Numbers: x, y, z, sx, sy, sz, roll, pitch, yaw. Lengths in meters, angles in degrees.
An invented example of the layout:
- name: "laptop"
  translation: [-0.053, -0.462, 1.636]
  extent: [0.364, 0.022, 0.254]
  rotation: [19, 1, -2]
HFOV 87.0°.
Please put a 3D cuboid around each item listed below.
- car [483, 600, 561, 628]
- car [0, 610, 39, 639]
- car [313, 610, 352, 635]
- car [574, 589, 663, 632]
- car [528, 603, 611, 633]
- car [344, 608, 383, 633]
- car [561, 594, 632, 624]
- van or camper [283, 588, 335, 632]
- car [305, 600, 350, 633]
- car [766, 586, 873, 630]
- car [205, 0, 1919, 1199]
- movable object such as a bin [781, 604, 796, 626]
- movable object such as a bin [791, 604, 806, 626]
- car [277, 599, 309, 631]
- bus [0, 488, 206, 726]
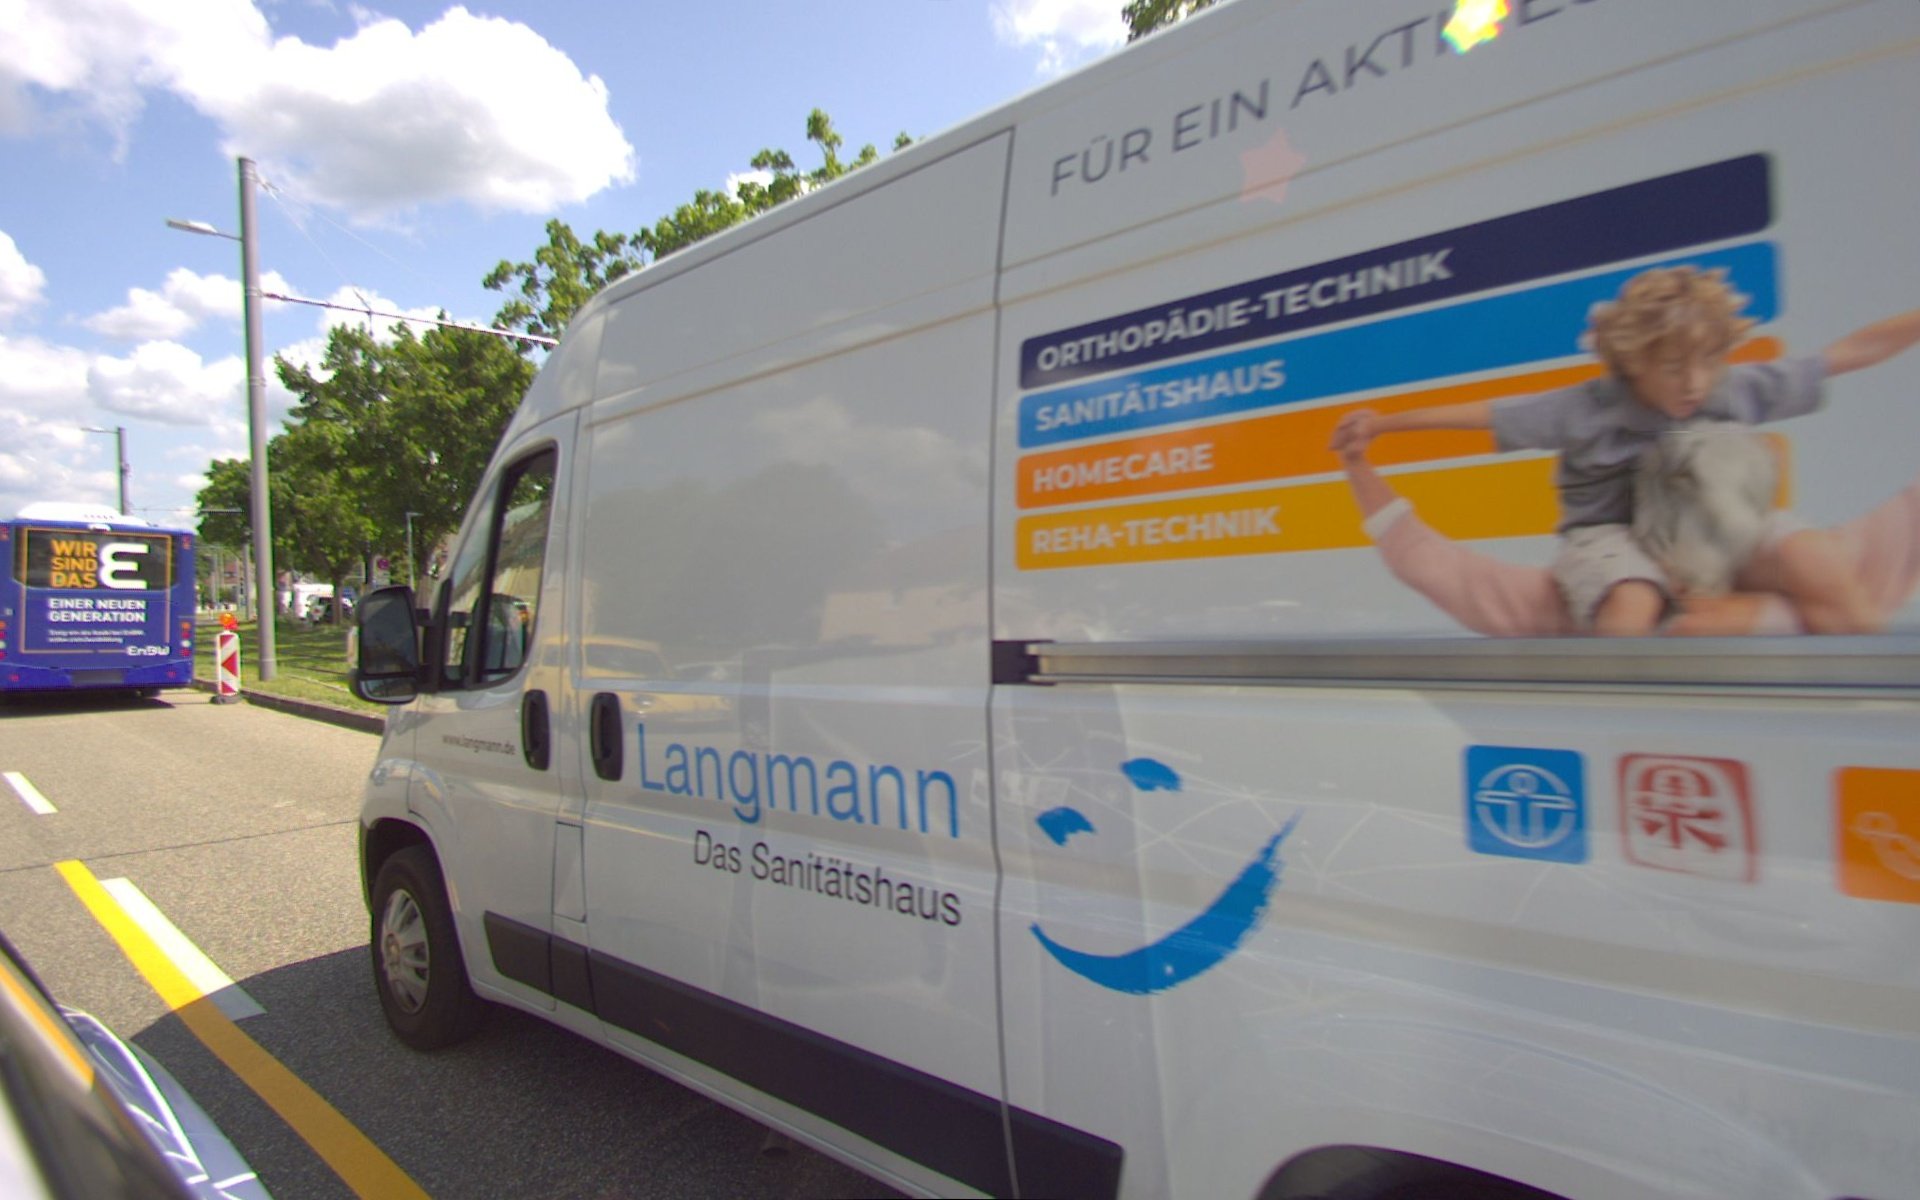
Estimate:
- name: "car"
  translation: [-26.933, 0.850, 62.295]
  extent: [3.941, 1.541, 1.875]
  rotation: [-3, 1, -44]
- name: "car"
  translation: [-75.433, 1.944, 80.452]
  extent: [2.246, 2.199, 6.385]
  rotation: [-1, 0, -33]
- name: "car"
  translation: [-38.692, 1.382, 62.314]
  extent: [1.827, 1.397, 4.821]
  rotation: [-2, 1, -34]
- name: "car"
  translation: [-16.853, 0.496, 50.107]
  extent: [1.933, 1.911, 3.861]
  rotation: [-2, 2, 27]
- name: "car"
  translation: [-21.392, 0.982, 55.551]
  extent: [3.838, 1.468, 1.737]
  rotation: [-2, 0, -44]
- name: "car"
  translation: [-44.532, 1.502, 75.533]
  extent: [1.857, 1.781, 5.094]
  rotation: [-2, 0, -38]
- name: "car"
  translation: [-23.550, 0.576, 65.629]
  extent: [3.941, 1.750, 1.800]
  rotation: [-3, 1, -44]
- name: "van or camper"
  translation: [-46.681, 0.710, 72.477]
  extent: [2.345, 2.992, 7.310]
  rotation: [-1, 0, -38]
- name: "car"
  translation: [-42.062, 1.093, 67.223]
  extent: [1.968, 2.029, 4.914]
  rotation: [-2, 0, -38]
- name: "car"
  translation: [-5.272, 0.307, 37.638]
  extent: [4.043, 1.529, 1.710]
  rotation: [-1, 1, 42]
- name: "car"
  translation: [0.149, 0.170, 2.636]
  extent: [5.566, 2.461, 2.082]
  rotation: [-1, 1, 40]
- name: "movable object such as a bin"
  translation: [-7.813, 0.681, 45.978]
  extent: [0.446, 0.984, 0.500]
  rotation: [-2, 0, -43]
- name: "movable object such as a bin"
  translation: [-7.367, 0.676, 46.198]
  extent: [0.446, 0.984, 0.500]
  rotation: [-2, 0, -43]
- name: "car"
  translation: [-58.609, 1.315, 88.852]
  extent: [2.125, 2.688, 4.928]
  rotation: [-2, 1, -35]
- name: "bus"
  translation: [-17.711, 0.227, 19.631]
  extent: [12.245, 3.438, 2.608]
  rotation: [-2, -1, 42]
